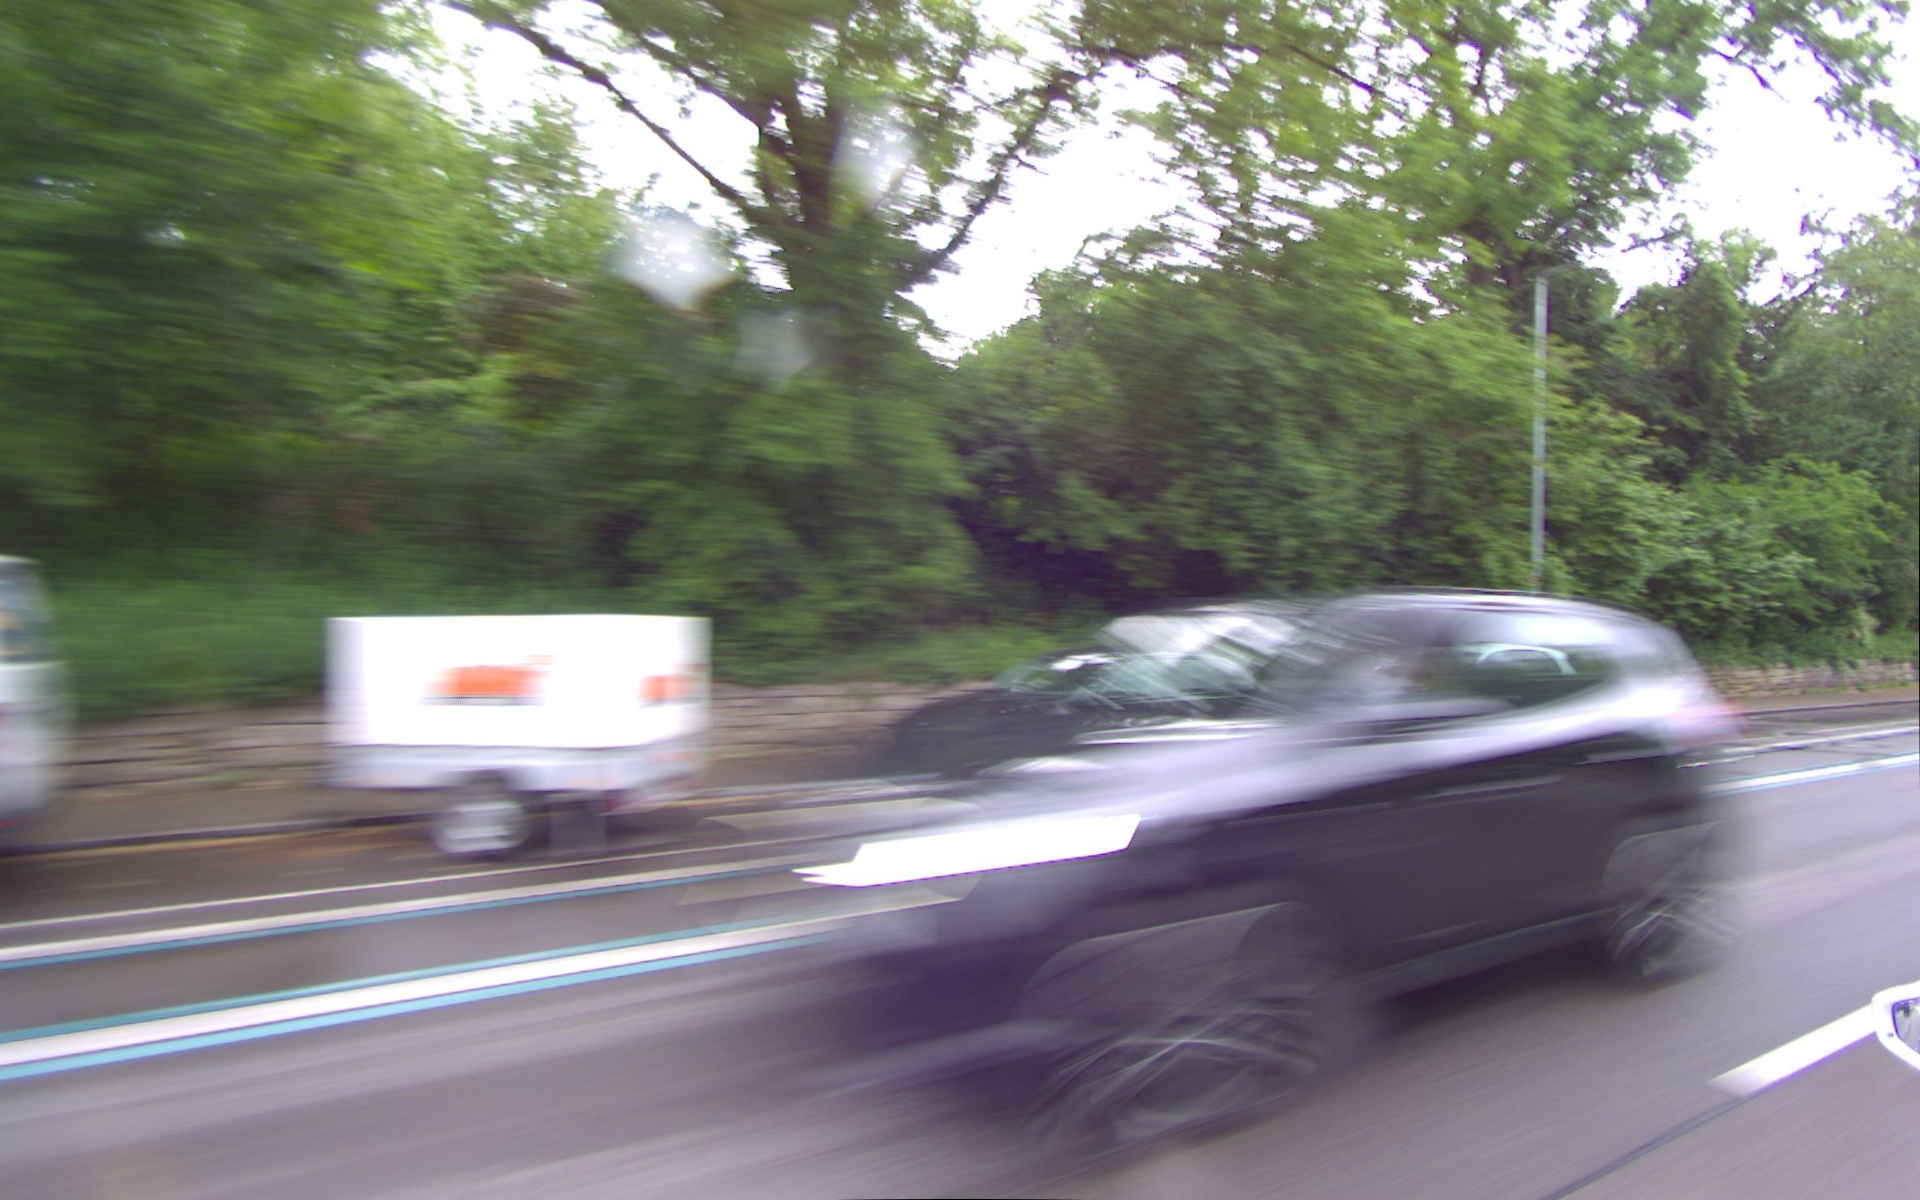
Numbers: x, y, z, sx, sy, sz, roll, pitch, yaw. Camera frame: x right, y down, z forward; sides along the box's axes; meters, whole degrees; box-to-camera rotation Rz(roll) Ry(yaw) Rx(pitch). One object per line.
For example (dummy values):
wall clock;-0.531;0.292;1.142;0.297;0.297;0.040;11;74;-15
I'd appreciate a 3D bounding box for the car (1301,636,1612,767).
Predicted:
car;6.681;1.232;13.387;4.308;1.454;1.745;1;-1;-32

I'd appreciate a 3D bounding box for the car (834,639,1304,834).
car;1.162;1.127;9.698;4.399;1.417;1.810;1;-1;-34

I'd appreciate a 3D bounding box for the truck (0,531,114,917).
truck;-7.609;0.619;4.861;5.105;2.040;2.081;1;-1;-34

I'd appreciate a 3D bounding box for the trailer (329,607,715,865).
trailer;-3.143;0.911;7.444;2.220;1.679;1.352;0;-1;8

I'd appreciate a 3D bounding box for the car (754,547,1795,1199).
car;1.534;0.777;4.511;4.425;1.671;2.028;1;-2;-31
